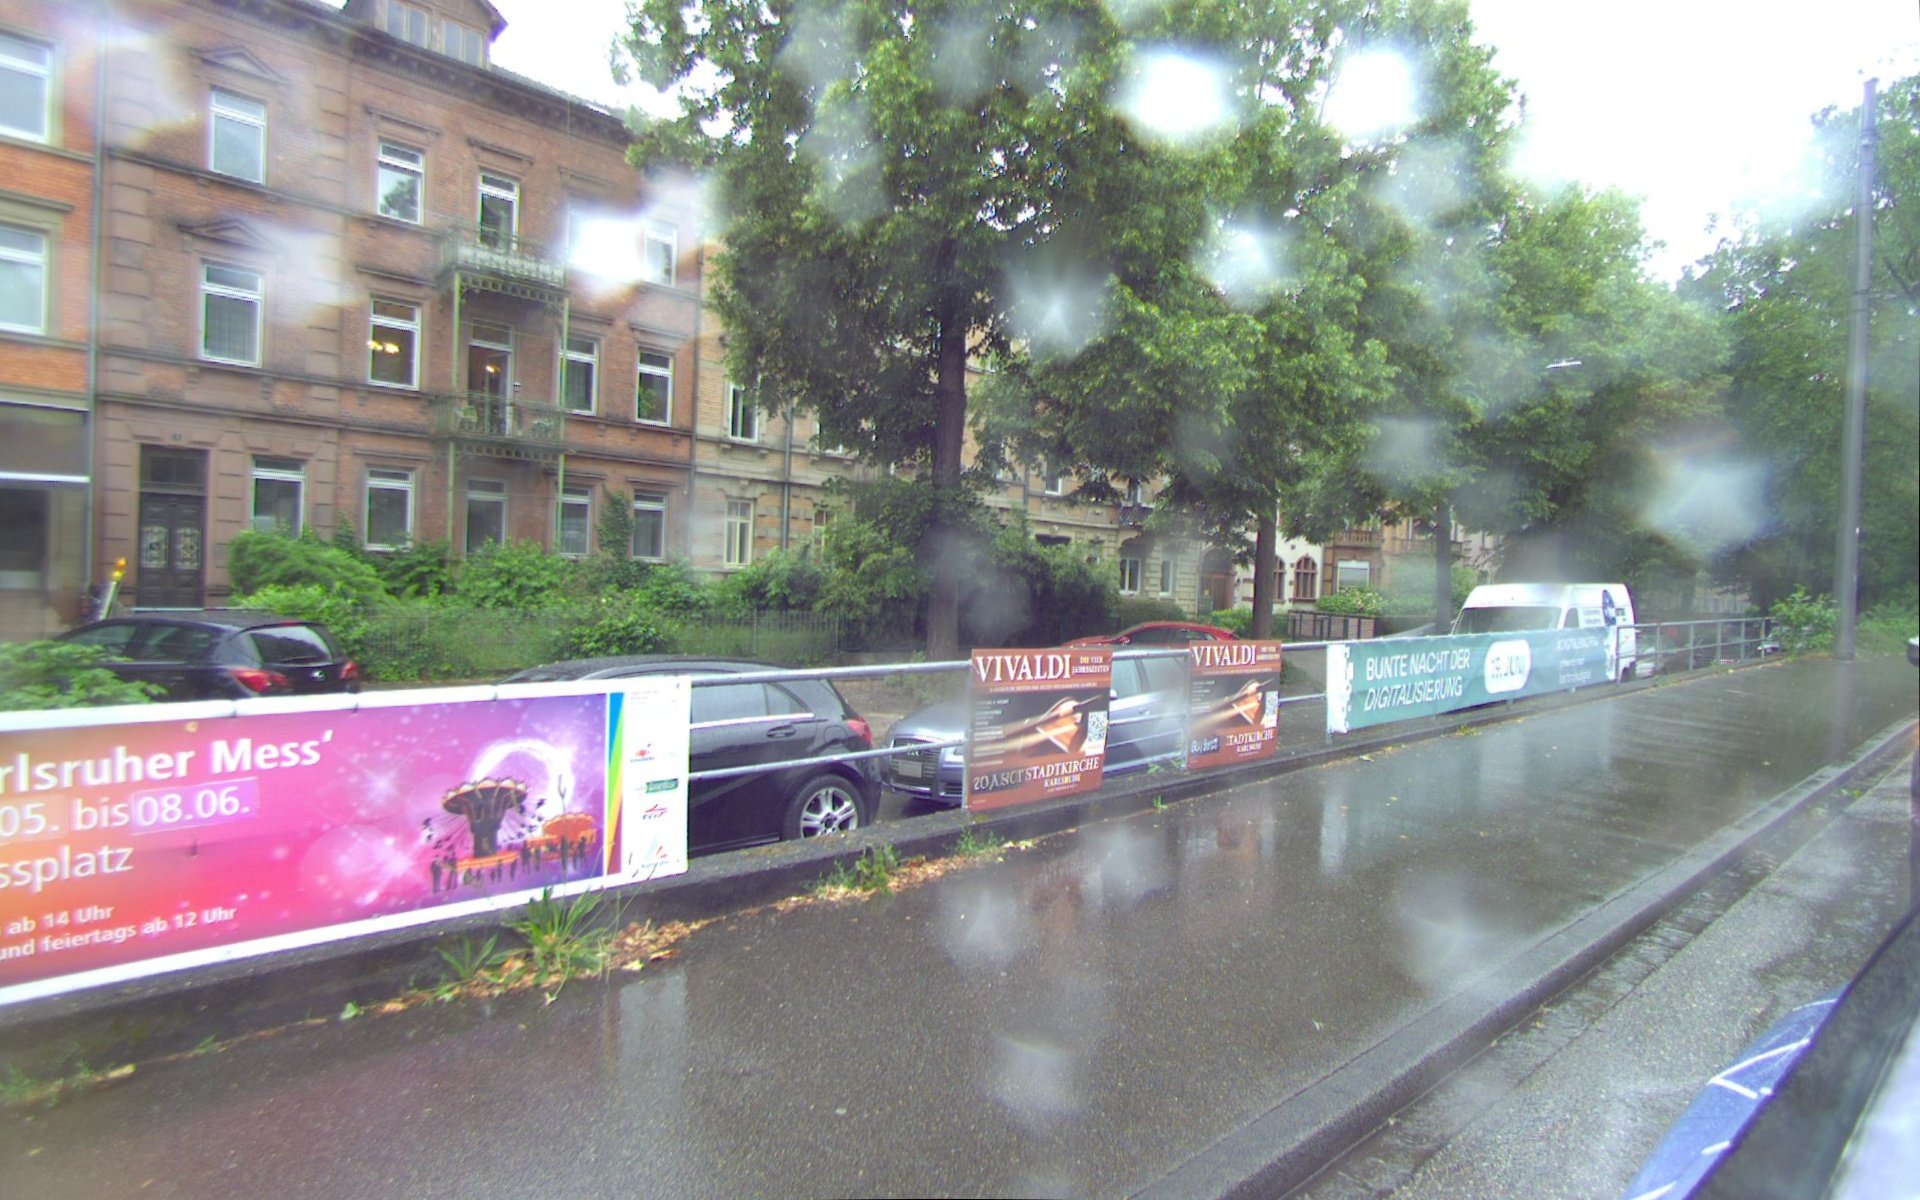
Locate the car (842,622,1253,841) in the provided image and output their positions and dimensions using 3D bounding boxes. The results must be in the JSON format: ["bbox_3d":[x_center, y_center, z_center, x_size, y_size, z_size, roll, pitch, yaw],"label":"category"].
[{"bbox_3d":[0.992,1.053,9.781,4.006,1.559,1.734,0,0,-43],"label":"car"}]

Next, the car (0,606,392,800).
[{"bbox_3d":[-8.532,0.976,11.177,3.955,1.735,1.985,1,1,23],"label":"car"}]

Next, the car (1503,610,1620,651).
[{"bbox_3d":[25.589,1.277,43.175,3.948,1.629,1.815,1,1,19],"label":"car"}]

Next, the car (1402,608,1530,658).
[{"bbox_3d":[17.909,1.135,36.038,3.958,1.523,1.645,2,2,25],"label":"car"}]

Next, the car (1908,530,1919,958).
[{"bbox_3d":[5.710,0.572,4.487,3.612,1.687,1.755,0,1,-39],"label":"car"}]

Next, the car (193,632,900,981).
[{"bbox_3d":[-2.447,0.997,6.526,3.903,1.417,1.706,0,1,-41],"label":"car"}]

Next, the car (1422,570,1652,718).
[{"bbox_3d":[11.361,0.720,19.669,6.055,2.451,2.211,0,0,-43],"label":"car"}]

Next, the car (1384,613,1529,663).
[{"bbox_3d":[16.509,1.226,33.894,4.214,1.397,1.679,2,2,22],"label":"car"}]

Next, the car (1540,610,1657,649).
[{"bbox_3d":[28.498,1.297,45.296,3.942,1.585,1.991,0,1,15],"label":"car"}]

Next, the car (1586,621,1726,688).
[{"bbox_3d":[16.747,1.234,24.271,4.312,1.370,1.968,0,0,-44],"label":"car"}]

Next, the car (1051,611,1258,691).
[{"bbox_3d":[4.388,1.087,22.735,4.372,1.471,1.888,2,1,18],"label":"car"}]

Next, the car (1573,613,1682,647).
[{"bbox_3d":[32.070,1.414,48.733,3.942,1.482,1.904,0,1,15],"label":"car"}]
